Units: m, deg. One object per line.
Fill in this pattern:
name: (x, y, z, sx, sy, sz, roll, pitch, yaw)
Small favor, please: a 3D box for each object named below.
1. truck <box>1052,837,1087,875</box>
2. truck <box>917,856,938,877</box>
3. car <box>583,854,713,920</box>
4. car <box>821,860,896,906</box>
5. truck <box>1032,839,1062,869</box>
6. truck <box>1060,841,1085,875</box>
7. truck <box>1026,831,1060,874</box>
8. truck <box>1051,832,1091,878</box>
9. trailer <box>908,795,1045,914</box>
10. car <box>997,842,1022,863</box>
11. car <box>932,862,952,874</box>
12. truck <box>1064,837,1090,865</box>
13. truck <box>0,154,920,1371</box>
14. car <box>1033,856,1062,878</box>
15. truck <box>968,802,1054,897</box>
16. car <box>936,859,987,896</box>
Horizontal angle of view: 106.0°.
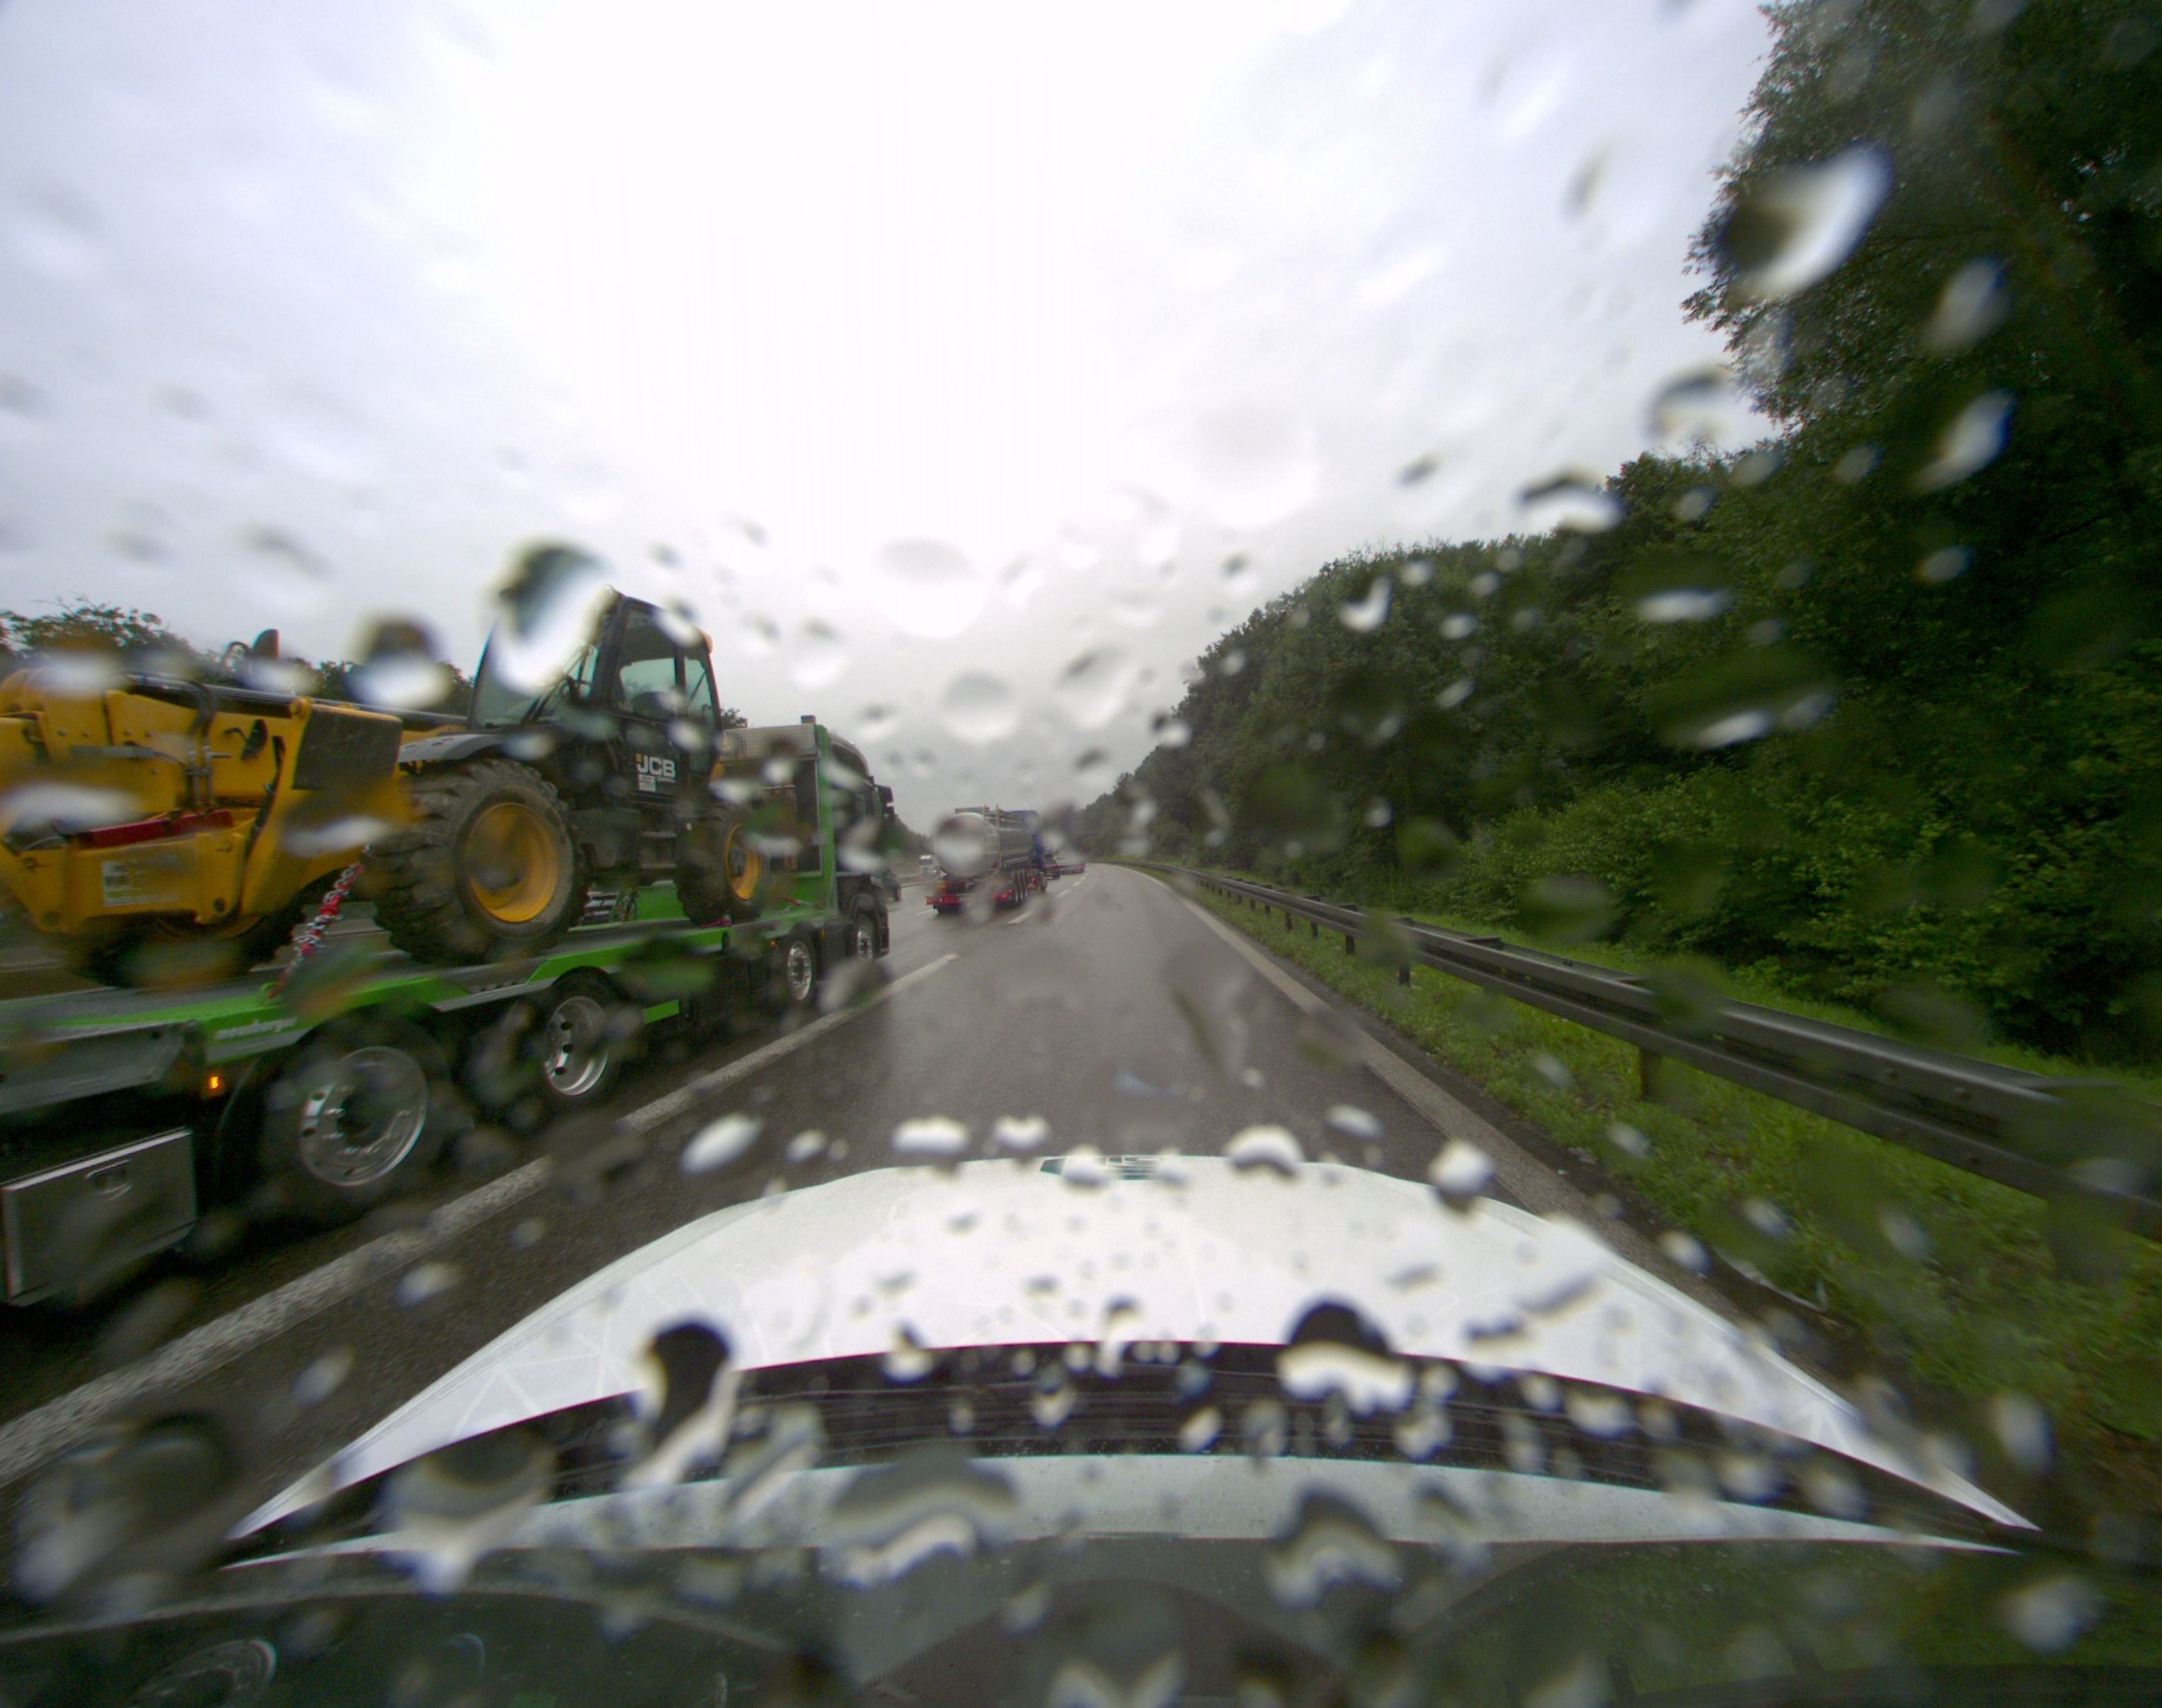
truck: (-1.282, 0.346, 98.793, 3.492, 4.268, 10.610, 0, -2, 3)
truck: (-30.496, 2.482, 161.871, 2.441, 3.948, 7.243, -2, 0, 2)
car: (-14.015, 1.064, 26.654, 1.789, 2.014, 4.005, 0, -2, 5)
car: (-9.875, 1.234, 36.507, 1.986, 1.798, 4.156, -3, 0, 2)
truck: (-5.216, 0.057, 125.967, 3.563, 4.096, 10.883, -3, -2, 2)
truck: (-1.456, 0.795, 147.328, 4.322, 5.764, 9.727, 0, -2, 0)
truck: (-5.010, -0.050, 110.482, 3.740, 5.500, 10.177, 0, -2, 2)
truck: (-0.906, 0.105, 82.925, 3.588, 4.105, 11.559, -3, 0, 0)
trailer: (-3.245, 0.016, 28.603, 2.862, 3.288, 10.085, -3, 0, 3)
car: (-6.710, -0.160, 76.573, 1.790, 1.838, 4.002, 0, -2, 2)
car: (-22.508, 2.340, 132.204, 2.043, 1.878, 5.250, 0, -2, 3)
truck: (-0.570, -0.339, 125.630, 3.742, 3.971, 11.058, 0, -2, 1)
truck: (-4.296, -0.208, 5.984, 2.818, 3.588, 11.811, -4, -1, 4)
car: (-2.549, 1.038, 62.965, 1.986, 1.636, 4.001, 0, -2, 2)
truck: (-2.913, -0.188, 35.473, 2.865, 3.693, 5.060, -3, 0, 3)
car: (-6.192, 1.196, 42.720, 1.812, 1.767, 4.003, -2, -1, 3)
